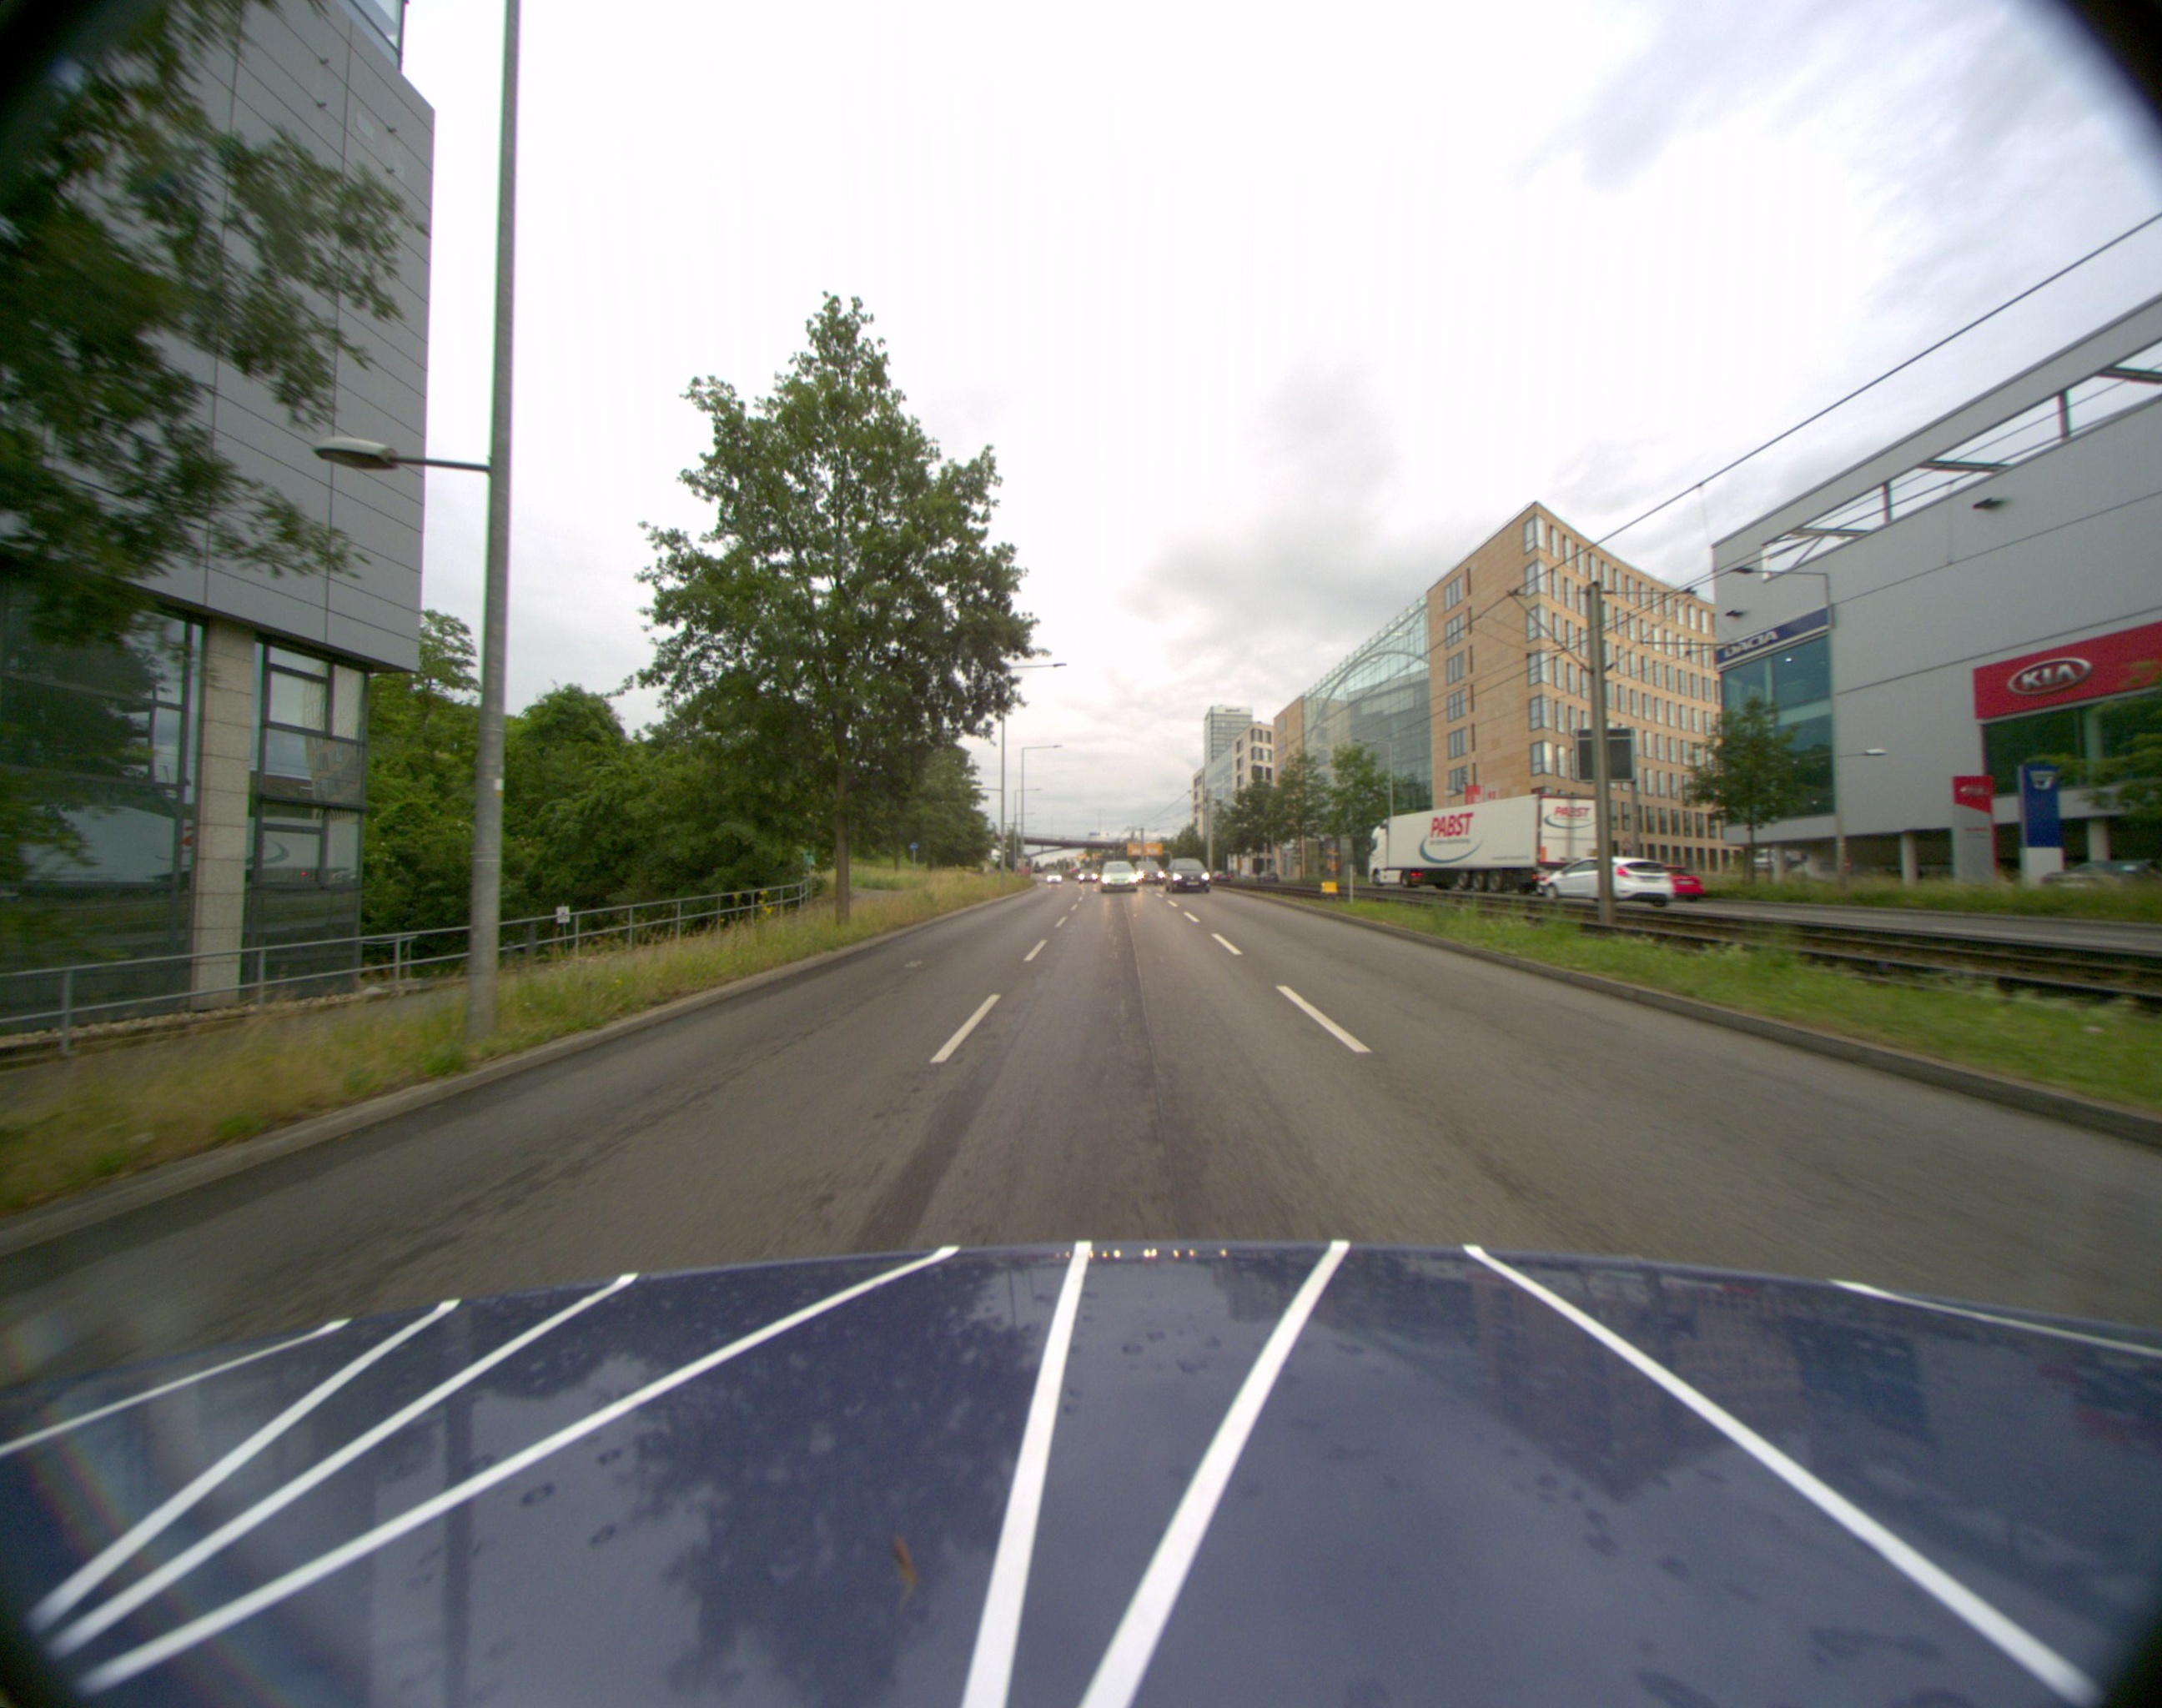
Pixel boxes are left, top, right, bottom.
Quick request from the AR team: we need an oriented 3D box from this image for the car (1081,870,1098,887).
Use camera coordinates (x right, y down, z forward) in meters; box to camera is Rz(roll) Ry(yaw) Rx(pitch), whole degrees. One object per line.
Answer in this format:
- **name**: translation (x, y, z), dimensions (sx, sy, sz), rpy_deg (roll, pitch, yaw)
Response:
- **car**: translation (0.905, 2.731, 84.756), dimensions (1.759, 1.649, 4.337), rpy_deg (-1, 0, 0)

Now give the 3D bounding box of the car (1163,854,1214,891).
- **car**: translation (4.755, 0.791, 34.129), dimensions (1.704, 1.523, 3.826), rpy_deg (-2, 0, 0)

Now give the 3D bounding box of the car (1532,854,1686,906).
- **car**: translation (15.794, 0.718, 23.034), dimensions (1.688, 1.428, 4.098), rpy_deg (1, 0, -2)

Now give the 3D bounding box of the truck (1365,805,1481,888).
- **truck**: translation (18.842, -0.375, 42.480), dimensions (3.143, 4.219, 7.027), rpy_deg (1, 0, -1)

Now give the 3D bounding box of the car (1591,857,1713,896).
- **car**: translation (22.304, 0.834, 29.910), dimensions (1.688, 1.362, 4.024), rpy_deg (-2, 0, -1)

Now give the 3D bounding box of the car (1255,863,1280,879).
- **car**: translation (20.514, 1.886, 83.711), dimensions (1.630, 1.608, 3.999), rpy_deg (-2, 0, -3)

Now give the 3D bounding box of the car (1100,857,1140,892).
- **car**: translation (1.842, 0.931, 37.026), dimensions (1.704, 1.523, 4.371), rpy_deg (-1, 0, 1)

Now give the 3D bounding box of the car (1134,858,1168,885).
- **car**: translation (4.645, 1.153, 50.885), dimensions (1.786, 1.597, 4.317), rpy_deg (-3, 0, -1)

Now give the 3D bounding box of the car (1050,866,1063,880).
- **car**: translation (-2.934, 2.286, 91.883), dimensions (1.518, 1.495, 3.167), rpy_deg (-2, 0, -2)

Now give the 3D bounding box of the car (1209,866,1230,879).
- **car**: translation (16.766, 2.275, 91.926), dimensions (1.688, 1.428, 4.099), rpy_deg (-2, 0, 0)

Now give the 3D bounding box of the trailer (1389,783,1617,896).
- **trailer**: translation (19.062, -0.548, 36.089), dimensions (3.142, 4.304, 13.279), rpy_deg (1, 0, -1)
